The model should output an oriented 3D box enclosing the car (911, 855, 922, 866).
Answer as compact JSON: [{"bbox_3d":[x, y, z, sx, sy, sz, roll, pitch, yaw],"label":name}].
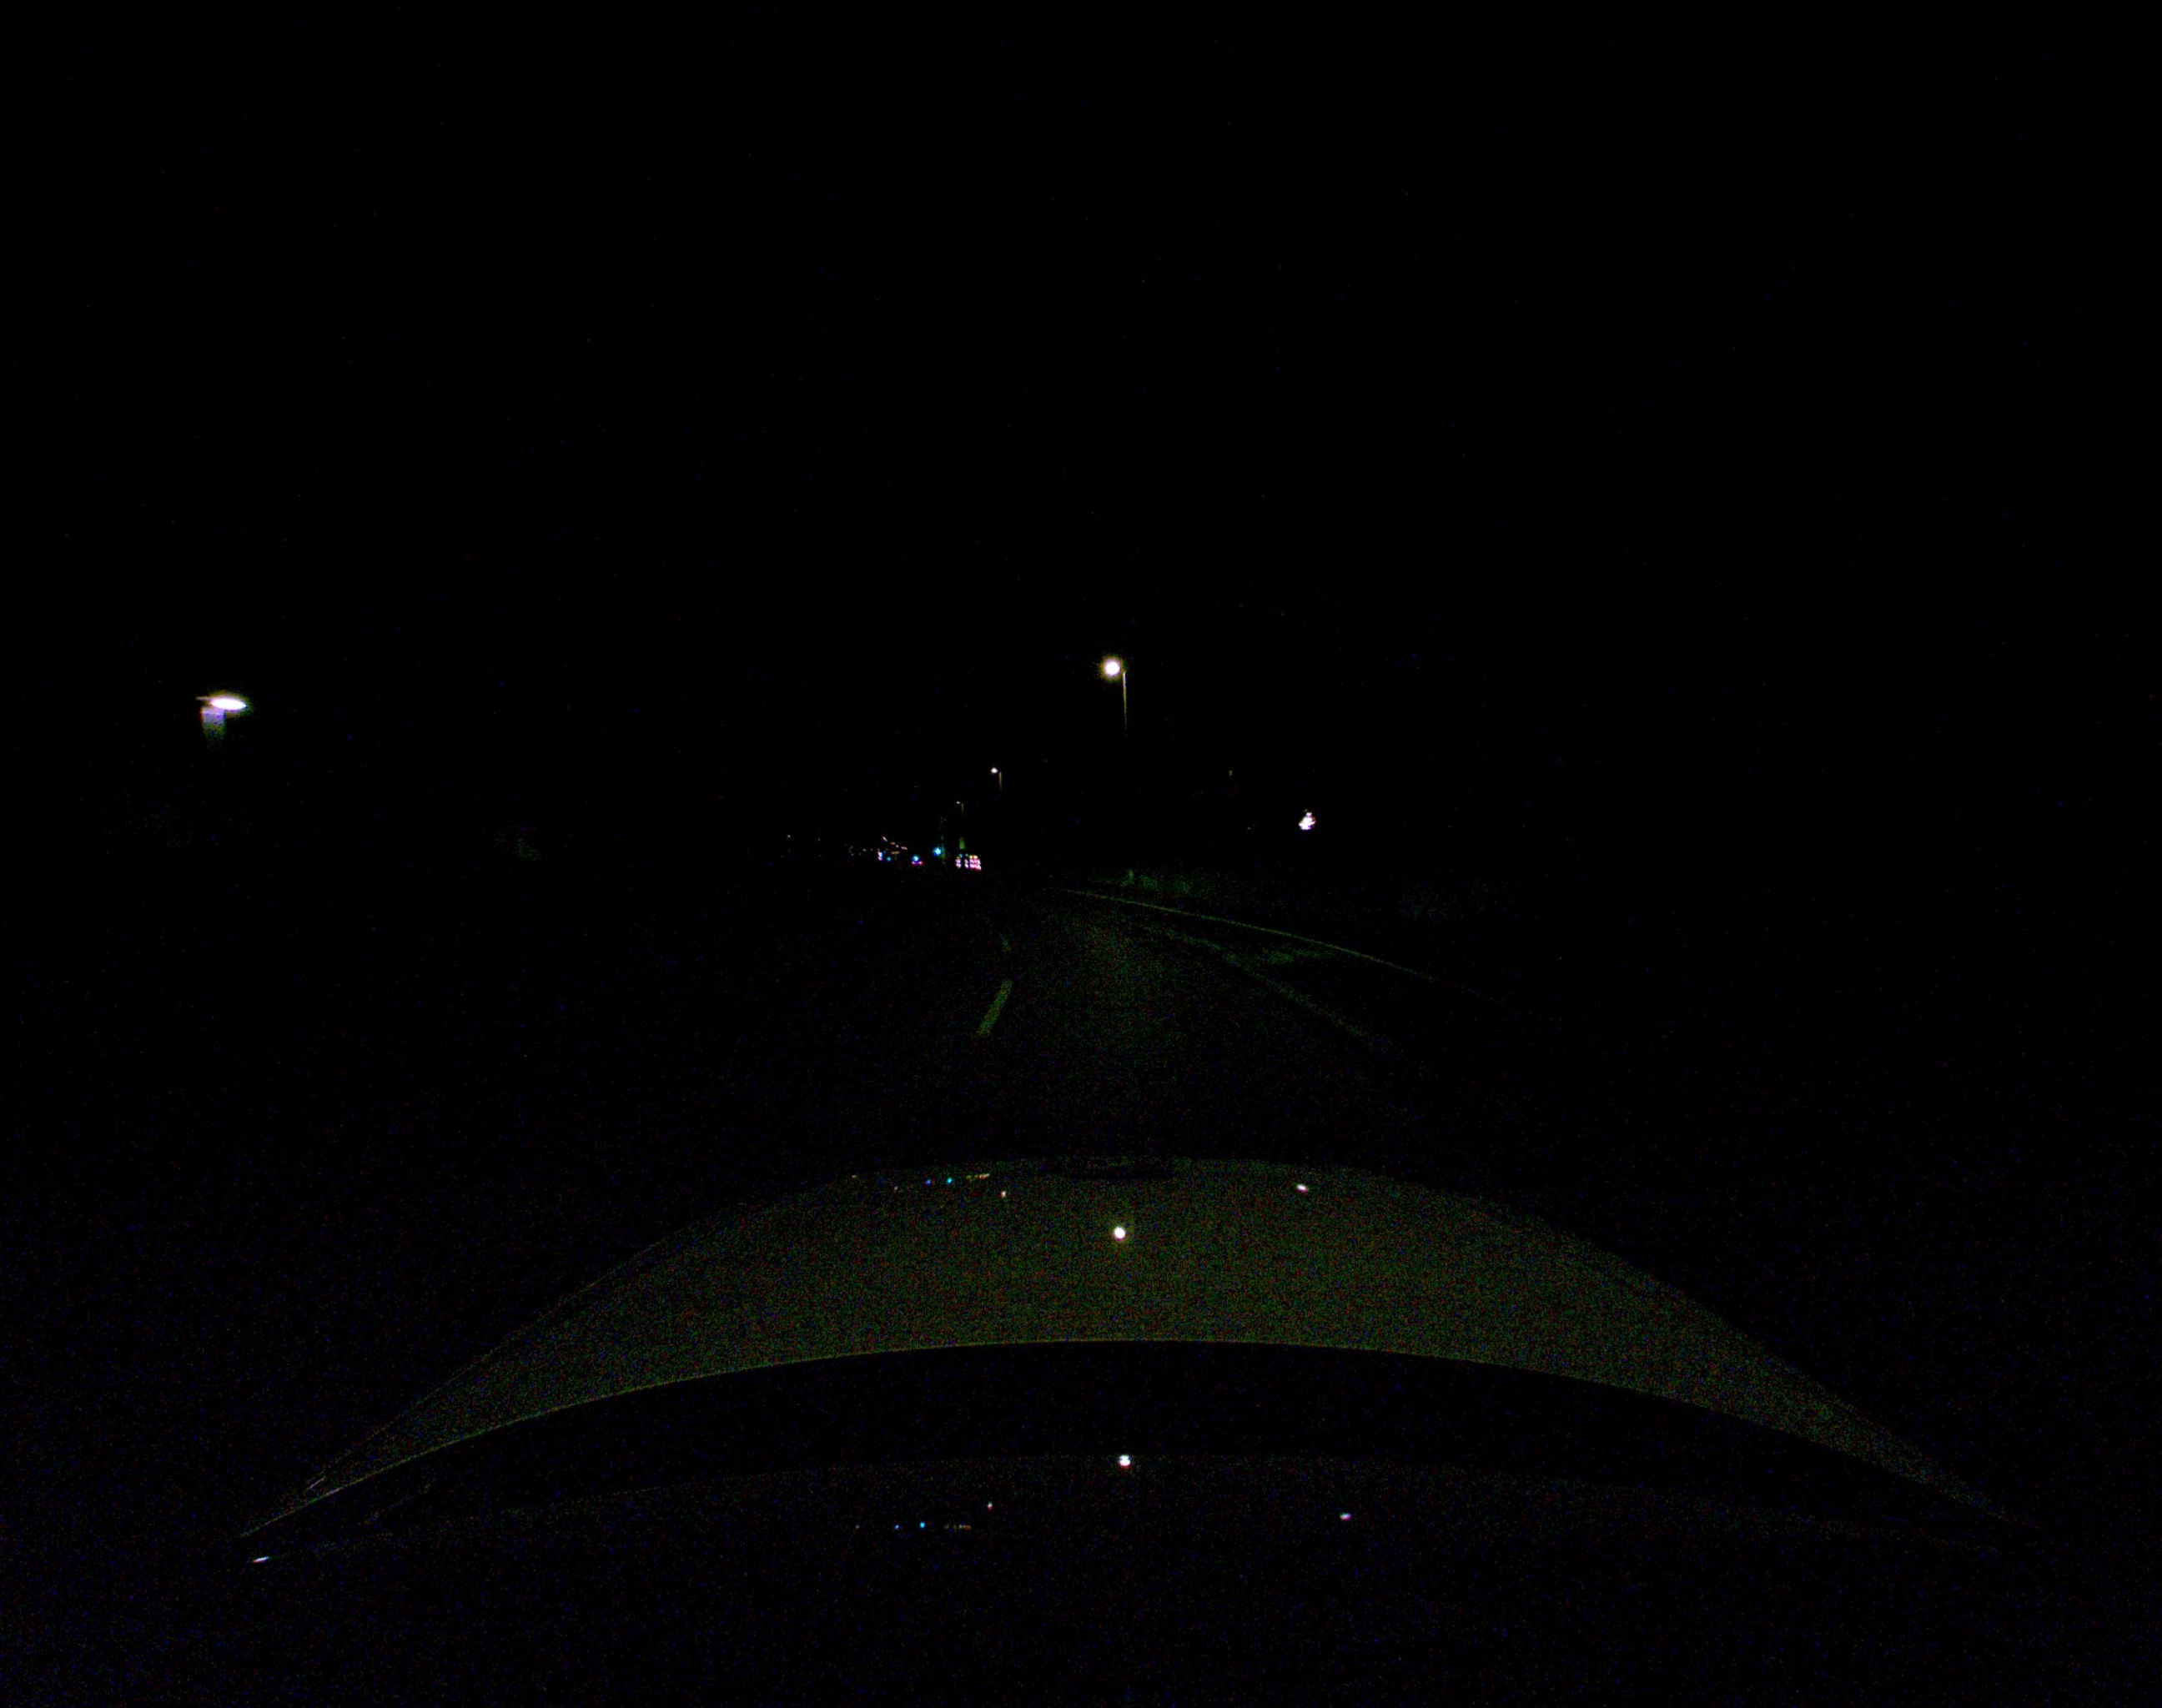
[{"bbox_3d":[-32.333,1.234,160.308,2.089,2.013,3.983,-2,0,-12],"label":"car"}]

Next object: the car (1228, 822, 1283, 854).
[{"bbox_3d":[11.112,-0.997,52.167,1.952,1.837,4.098,-4,1,-11],"label":"car"}]
